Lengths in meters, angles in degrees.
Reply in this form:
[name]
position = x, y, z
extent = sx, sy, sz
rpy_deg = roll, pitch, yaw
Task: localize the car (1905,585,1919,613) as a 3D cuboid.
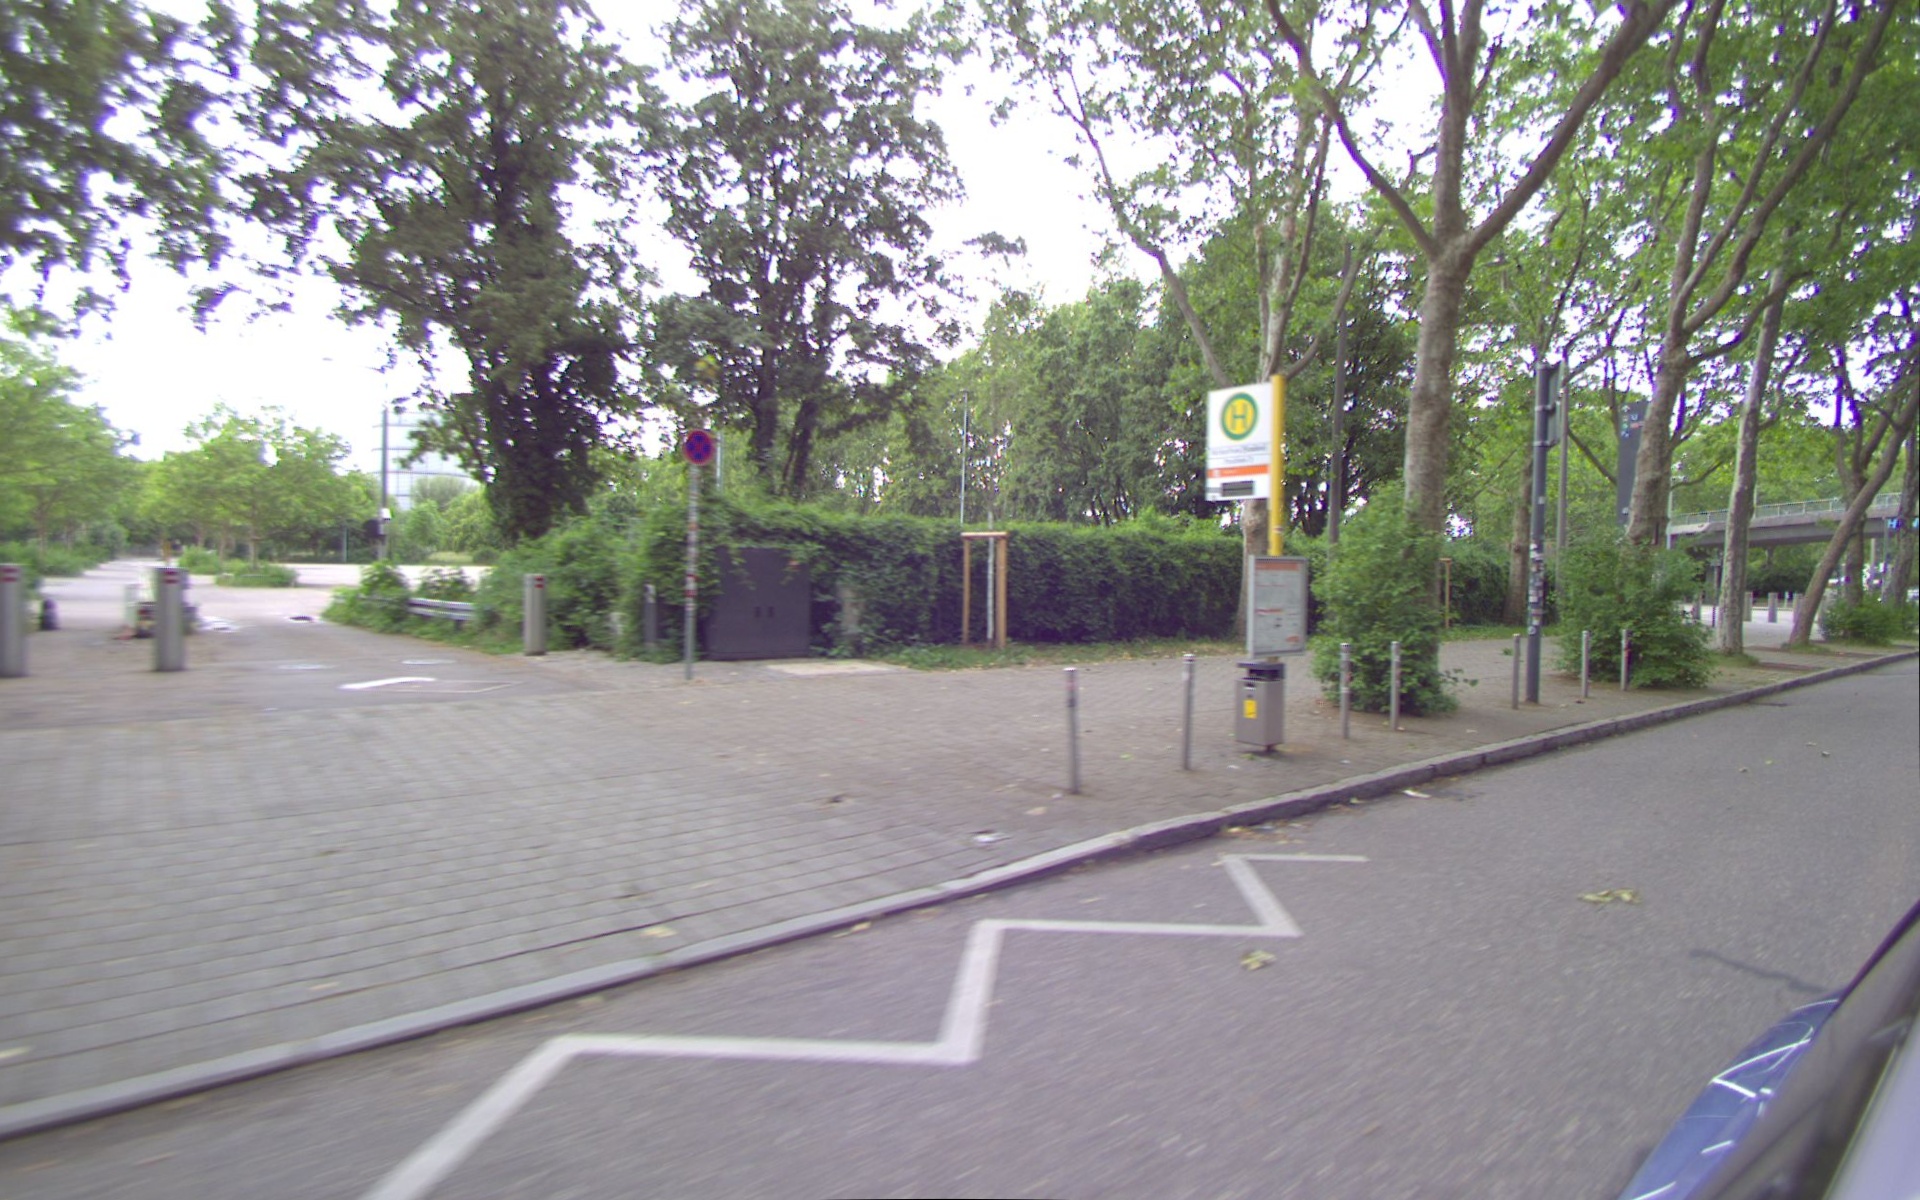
[car]
position = 52.200, -0.018, 52.188
extent = 4.636, 1.464, 1.872
rpy_deg = 1, 1, 24
